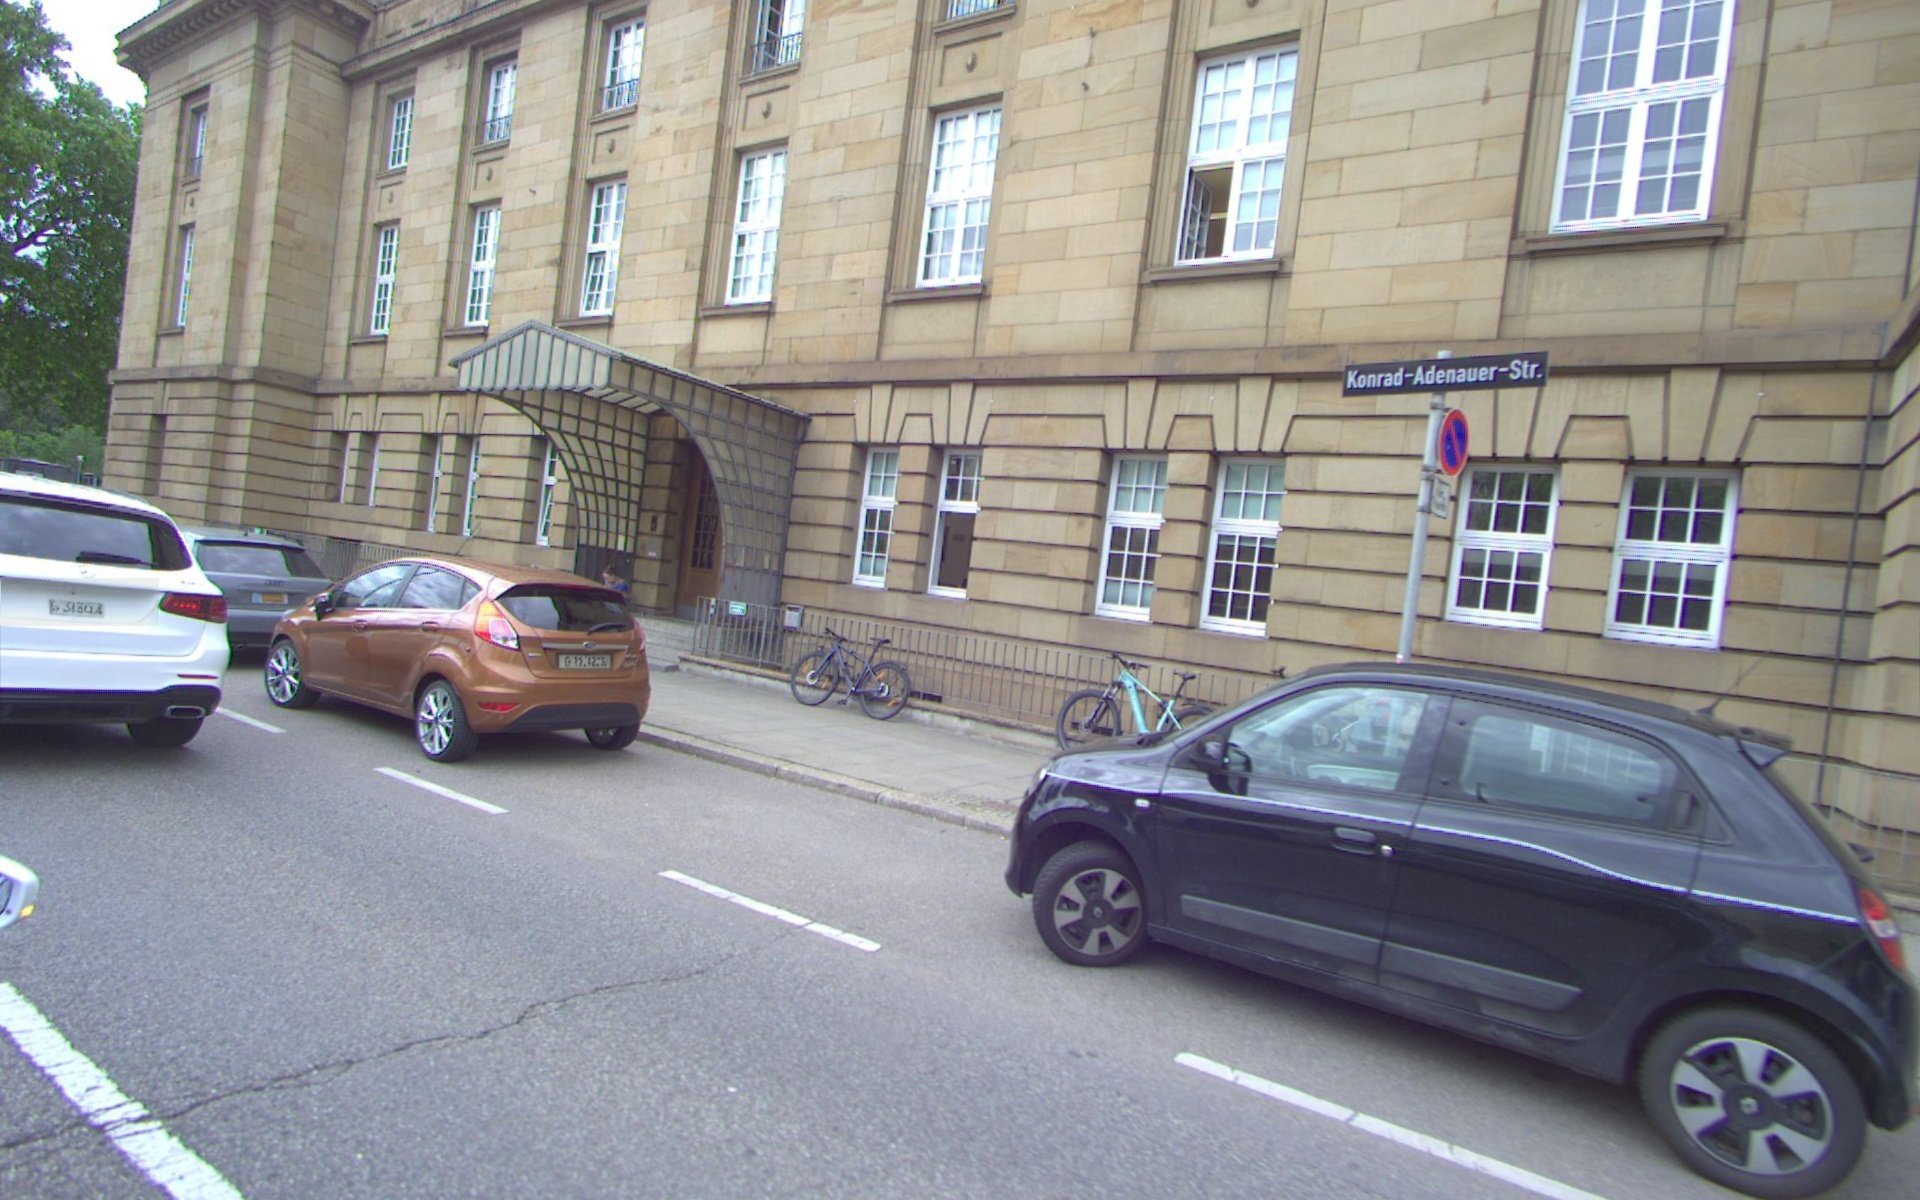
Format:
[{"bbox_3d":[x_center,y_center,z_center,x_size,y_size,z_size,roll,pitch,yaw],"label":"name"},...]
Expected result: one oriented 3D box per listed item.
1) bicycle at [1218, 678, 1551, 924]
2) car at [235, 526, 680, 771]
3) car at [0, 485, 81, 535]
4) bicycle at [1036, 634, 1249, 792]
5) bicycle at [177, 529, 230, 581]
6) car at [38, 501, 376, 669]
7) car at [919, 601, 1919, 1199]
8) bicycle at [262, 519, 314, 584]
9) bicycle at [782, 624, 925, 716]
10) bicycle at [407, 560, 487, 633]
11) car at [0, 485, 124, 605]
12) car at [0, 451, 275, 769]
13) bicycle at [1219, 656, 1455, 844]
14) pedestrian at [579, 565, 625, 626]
[{"bbox_3d":[2.668,1.207,6.440,1.801,1.171,0.460,7,0,32],"label":"bicycle"},{"bbox_3d":[-4.386,0.308,8.618,3.795,1.473,1.616,7,1,33],"label":"car"},{"bbox_3d":[-37.471,-3.685,39.684,1.652,1.587,3.840,7,-1,33],"label":"car"},{"bbox_3d":[1.770,1.074,9.928,1.884,1.232,0.556,7,0,33],"label":"bicycle"},{"bbox_3d":[-17.027,-1.032,22.633,1.931,1.010,0.240,6,0,33],"label":"bicycle"},{"bbox_3d":[-8.607,-0.197,11.418,3.931,1.444,1.710,7,1,32],"label":"car"},{"bbox_3d":[1.809,1.038,4.587,3.650,1.570,1.547,7,-1,35],"label":"car"},{"bbox_3d":[-13.531,-0.991,20.230,1.514,1.198,0.275,6,1,36],"label":"bicycle"},{"bbox_3d":[-1.294,0.816,11.971,1.848,0.854,0.306,6,-2,35],"label":"bicycle"},{"bbox_3d":[-8.703,-0.074,17.030,1.829,1.041,0.222,7,-1,33],"label":"bicycle"},{"bbox_3d":[-14.530,-0.965,14.981,4.253,1.503,1.791,7,-1,31],"label":"car"},{"bbox_3d":[-6.669,-0.123,6.620,4.363,1.644,1.791,7,-1,31],"label":"car"},{"bbox_3d":[3.260,1.259,8.800,1.761,1.304,0.412,7,0,33],"label":"bicycle"},{"bbox_3d":[-5.588,-0.072,15.714,0.367,0.883,0.430,6,-2,34],"label":"pedestrian"}]
